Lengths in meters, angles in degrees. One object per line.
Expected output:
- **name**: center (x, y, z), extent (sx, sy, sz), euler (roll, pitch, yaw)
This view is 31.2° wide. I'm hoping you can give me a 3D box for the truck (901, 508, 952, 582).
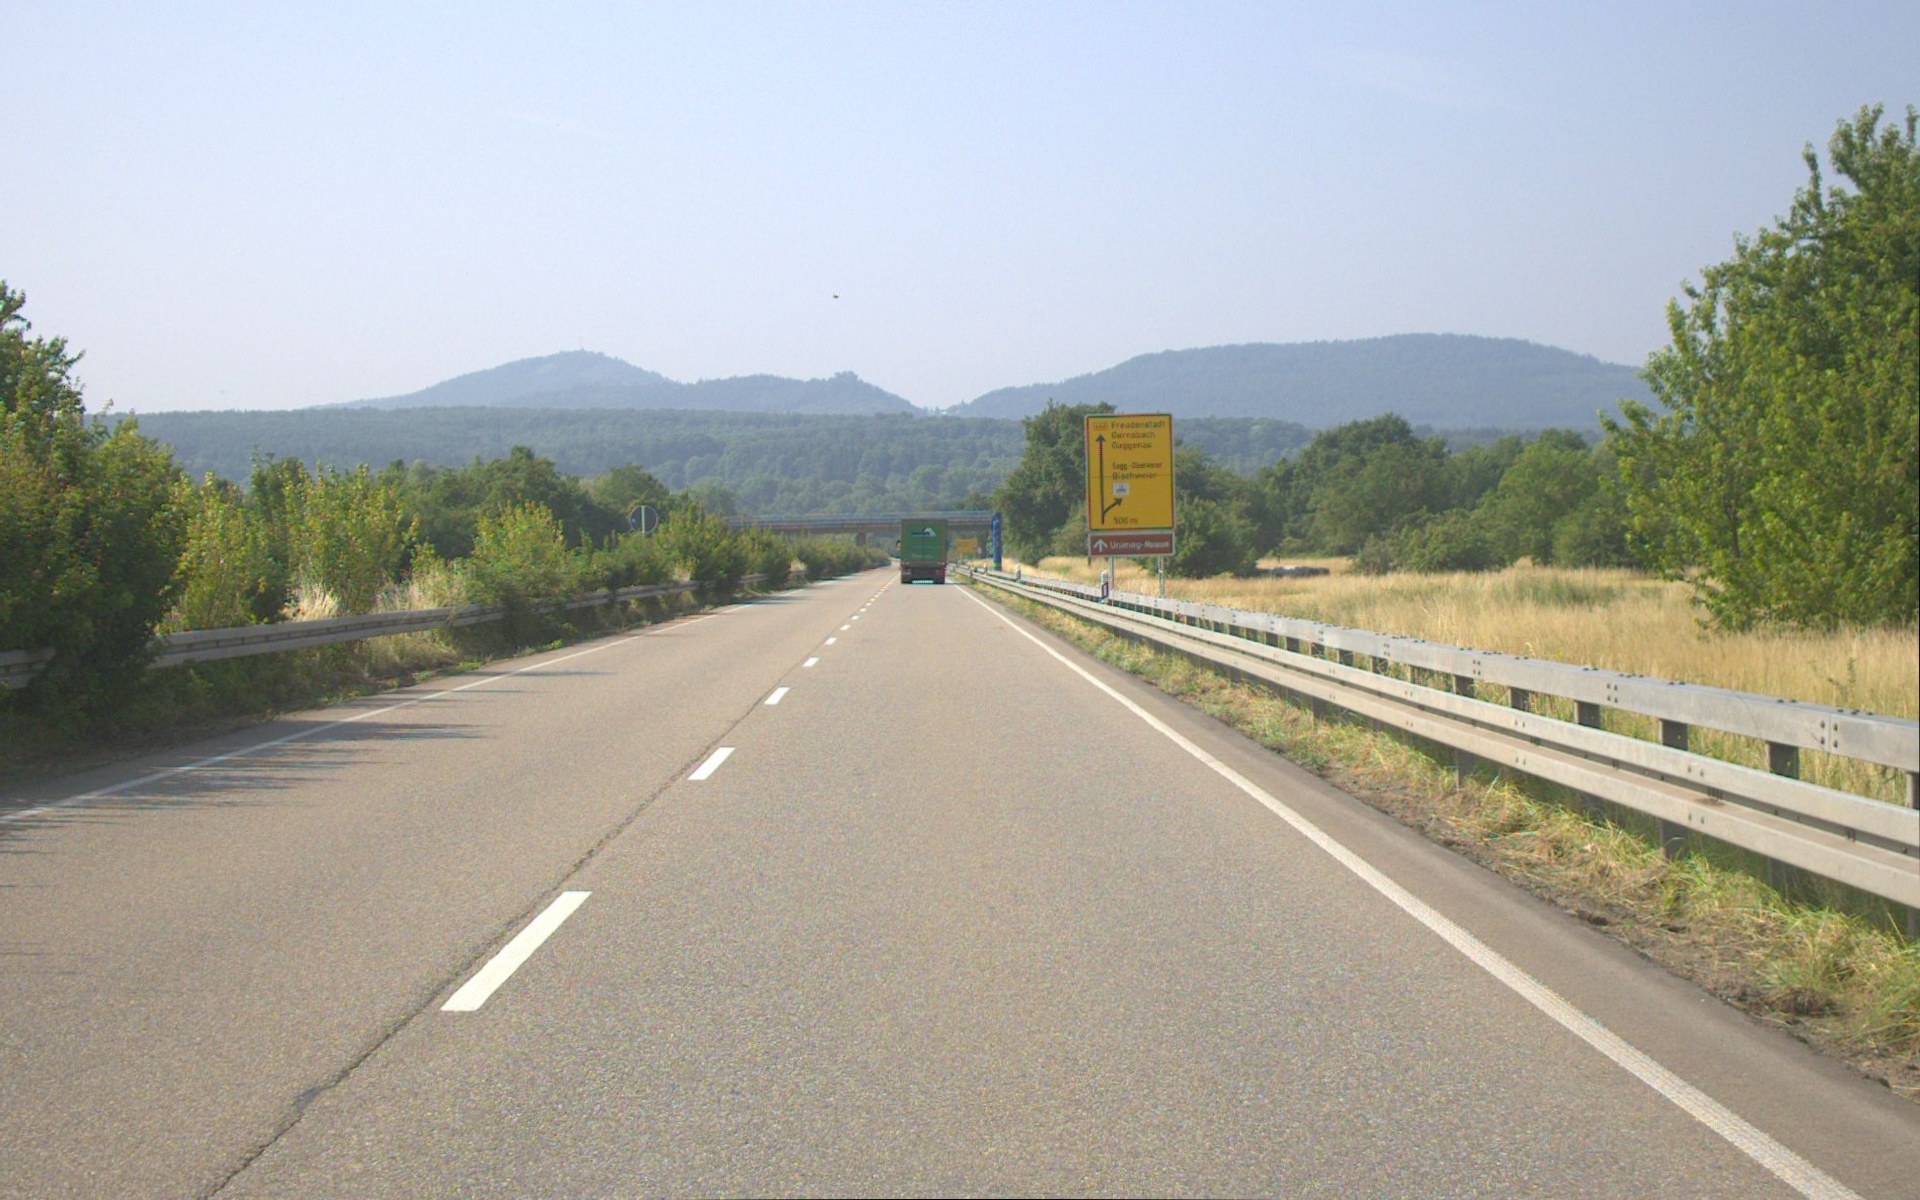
- **truck**: center (-1.869, -3.172, 194.811), extent (2.722, 3.952, 10.416), euler (1, 2, 0)
